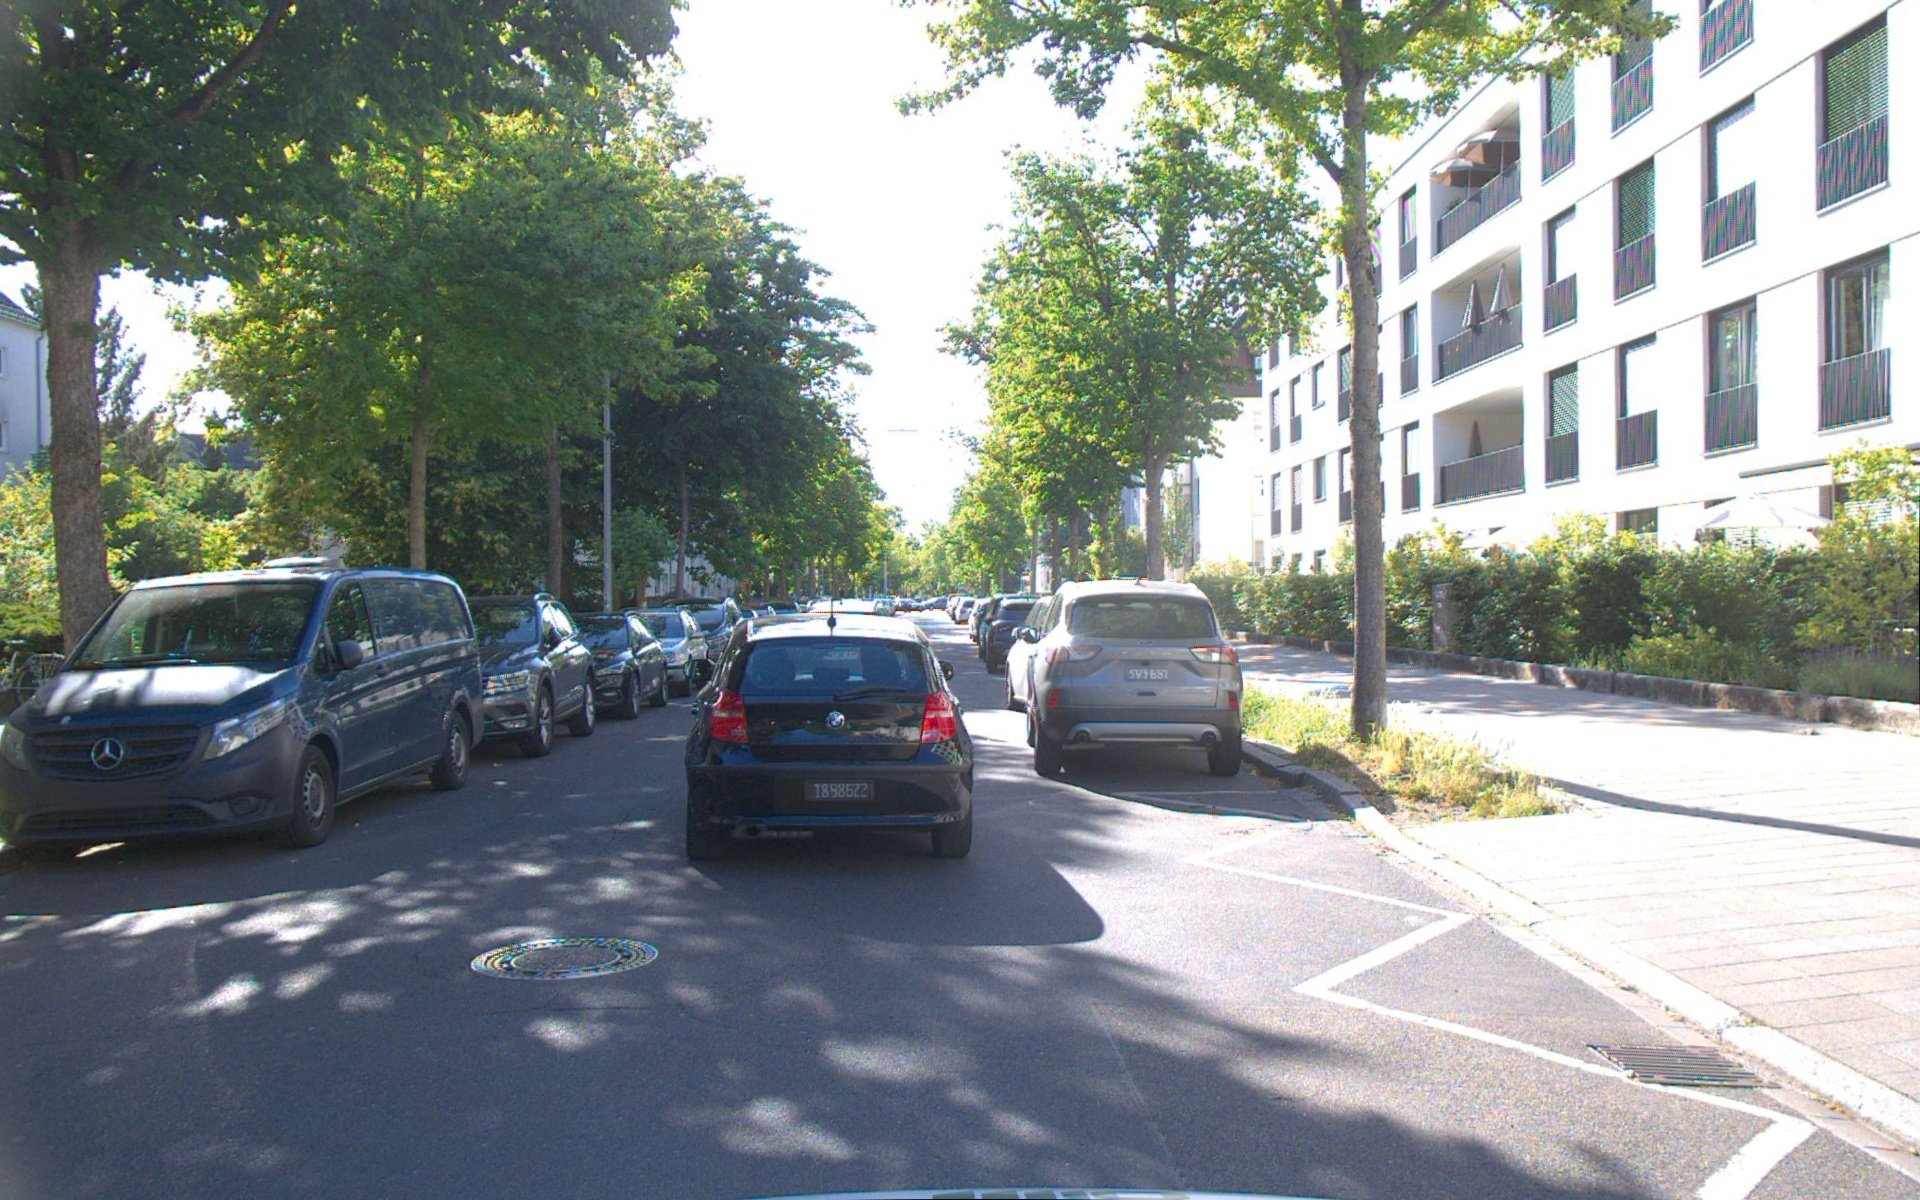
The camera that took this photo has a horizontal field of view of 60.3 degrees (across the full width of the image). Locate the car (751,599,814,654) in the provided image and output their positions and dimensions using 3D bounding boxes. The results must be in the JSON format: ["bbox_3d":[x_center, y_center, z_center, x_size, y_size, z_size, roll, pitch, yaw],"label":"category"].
[{"bbox_3d":[-5.464,0.799,51.173,1.580,1.570,3.864,-2,0,-2],"label":"car"}]

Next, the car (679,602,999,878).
[{"bbox_3d":[-0.921,0.745,10.619,1.620,1.421,3.402,-2,0,-11],"label":"car"}]

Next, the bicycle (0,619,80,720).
[{"bbox_3d":[-12.406,0.888,20.912,2.107,1.230,0.688,-2,0,-12],"label":"bicycle"}]

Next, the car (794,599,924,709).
[{"bbox_3d":[-1.435,0.746,24.784,1.615,1.450,4.001,-1,0,1],"label":"car"}]

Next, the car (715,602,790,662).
[{"bbox_3d":[-5.511,0.815,44.260,1.580,1.478,3.864,-2,0,-2],"label":"car"}]

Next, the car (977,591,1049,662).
[{"bbox_3d":[1.305,0.637,41.830,1.685,1.669,3.851,1,0,0],"label":"car"}]

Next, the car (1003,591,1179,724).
[{"bbox_3d":[1.588,0.675,21.391,1.660,1.550,3.996,0,0,-5],"label":"car"}]

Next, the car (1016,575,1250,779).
[{"bbox_3d":[1.487,0.646,15.695,1.810,1.659,4.410,0,0,1],"label":"car"}]

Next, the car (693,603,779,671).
[{"bbox_3d":[-5.326,0.841,39.653,1.580,1.478,3.864,-2,0,-2],"label":"car"}]

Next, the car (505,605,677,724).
[{"bbox_3d":[-5.118,0.838,23.418,1.580,1.452,4.057,-2,0,-2],"label":"car"}]

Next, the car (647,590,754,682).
[{"bbox_3d":[-5.254,0.698,33.951,1.580,1.708,4.233,-2,0,-2],"label":"car"}]

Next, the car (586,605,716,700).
[{"bbox_3d":[-5.250,0.854,28.510,1.580,1.452,3.724,-2,0,-2],"label":"car"}]

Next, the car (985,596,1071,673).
[{"bbox_3d":[1.420,0.700,35.824,1.685,1.555,4.000,1,0,0],"label":"car"}]

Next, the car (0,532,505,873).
[{"bbox_3d":[-5.013,0.601,12.281,1.789,1.937,5.141,-2,0,0],"label":"car"}]

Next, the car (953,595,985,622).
[{"bbox_3d":[0.545,0.492,97.017,1.685,1.506,3.852,-2,0,2],"label":"car"}]

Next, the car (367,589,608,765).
[{"bbox_3d":[-5.014,0.745,18.112,1.580,1.639,4.227,-2,0,-3],"label":"car"}]

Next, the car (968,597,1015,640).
[{"bbox_3d":[1.139,0.667,61.732,1.685,1.506,3.851,1,0,0],"label":"car"}]
